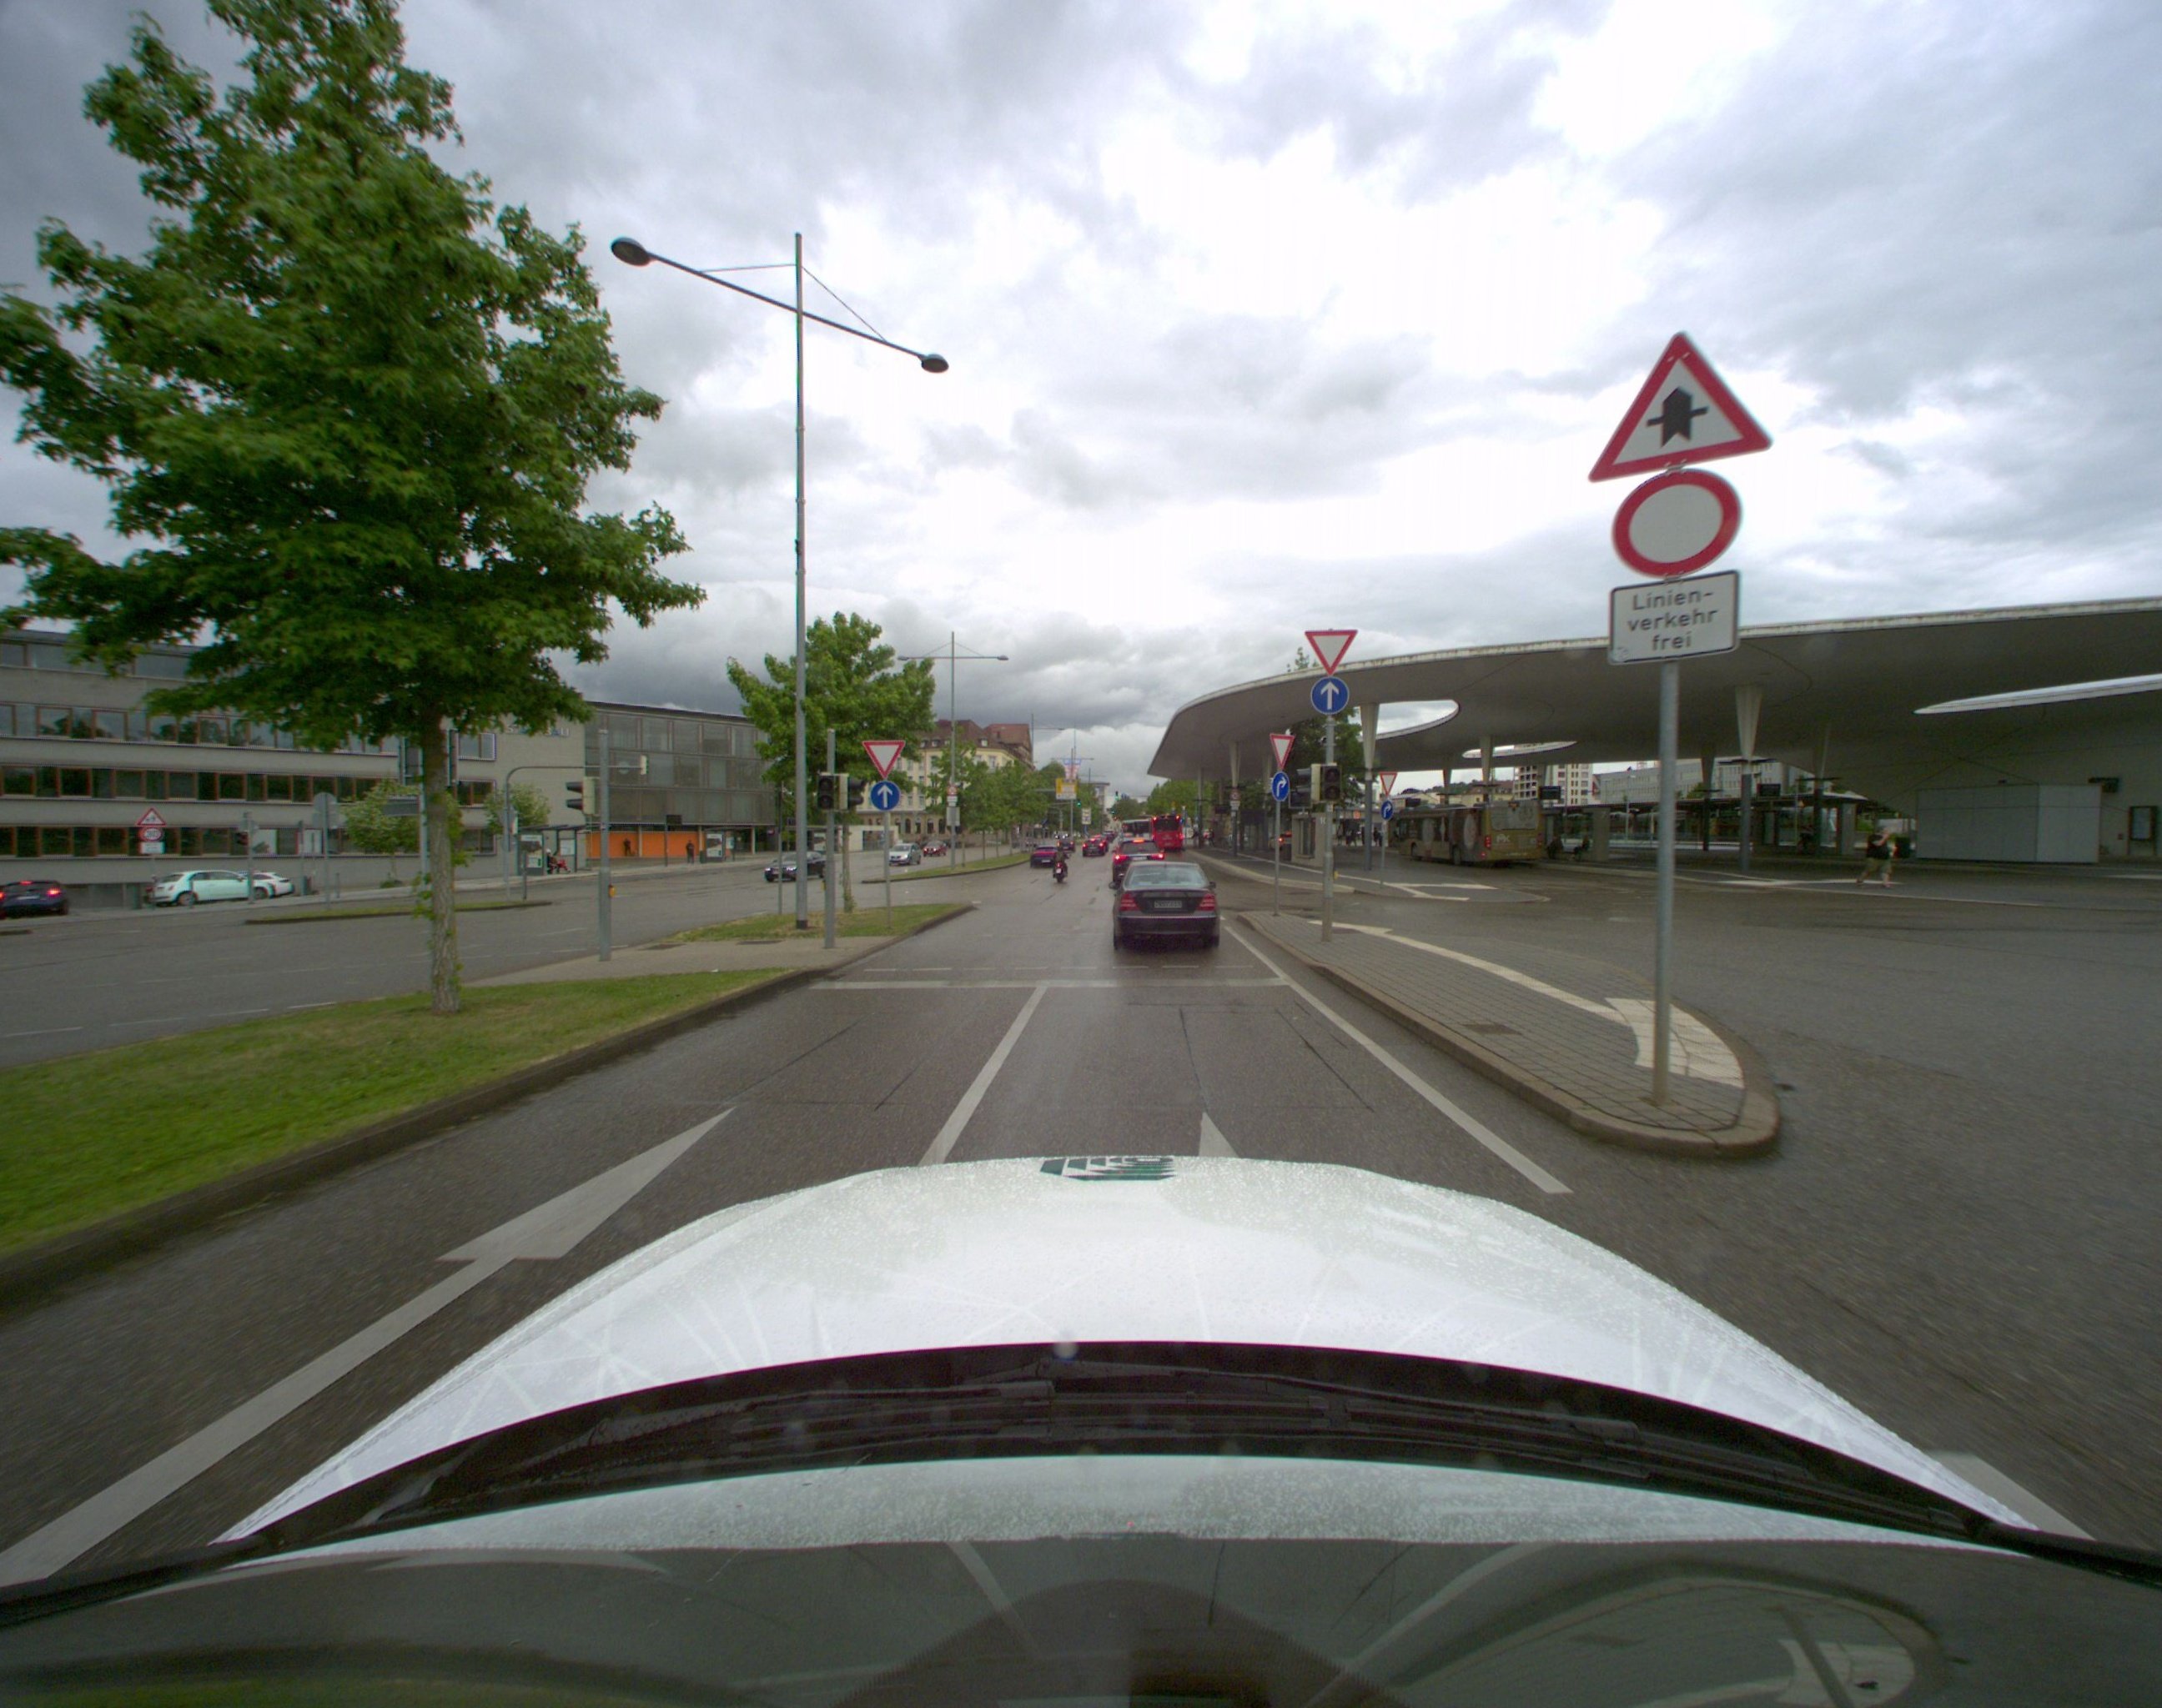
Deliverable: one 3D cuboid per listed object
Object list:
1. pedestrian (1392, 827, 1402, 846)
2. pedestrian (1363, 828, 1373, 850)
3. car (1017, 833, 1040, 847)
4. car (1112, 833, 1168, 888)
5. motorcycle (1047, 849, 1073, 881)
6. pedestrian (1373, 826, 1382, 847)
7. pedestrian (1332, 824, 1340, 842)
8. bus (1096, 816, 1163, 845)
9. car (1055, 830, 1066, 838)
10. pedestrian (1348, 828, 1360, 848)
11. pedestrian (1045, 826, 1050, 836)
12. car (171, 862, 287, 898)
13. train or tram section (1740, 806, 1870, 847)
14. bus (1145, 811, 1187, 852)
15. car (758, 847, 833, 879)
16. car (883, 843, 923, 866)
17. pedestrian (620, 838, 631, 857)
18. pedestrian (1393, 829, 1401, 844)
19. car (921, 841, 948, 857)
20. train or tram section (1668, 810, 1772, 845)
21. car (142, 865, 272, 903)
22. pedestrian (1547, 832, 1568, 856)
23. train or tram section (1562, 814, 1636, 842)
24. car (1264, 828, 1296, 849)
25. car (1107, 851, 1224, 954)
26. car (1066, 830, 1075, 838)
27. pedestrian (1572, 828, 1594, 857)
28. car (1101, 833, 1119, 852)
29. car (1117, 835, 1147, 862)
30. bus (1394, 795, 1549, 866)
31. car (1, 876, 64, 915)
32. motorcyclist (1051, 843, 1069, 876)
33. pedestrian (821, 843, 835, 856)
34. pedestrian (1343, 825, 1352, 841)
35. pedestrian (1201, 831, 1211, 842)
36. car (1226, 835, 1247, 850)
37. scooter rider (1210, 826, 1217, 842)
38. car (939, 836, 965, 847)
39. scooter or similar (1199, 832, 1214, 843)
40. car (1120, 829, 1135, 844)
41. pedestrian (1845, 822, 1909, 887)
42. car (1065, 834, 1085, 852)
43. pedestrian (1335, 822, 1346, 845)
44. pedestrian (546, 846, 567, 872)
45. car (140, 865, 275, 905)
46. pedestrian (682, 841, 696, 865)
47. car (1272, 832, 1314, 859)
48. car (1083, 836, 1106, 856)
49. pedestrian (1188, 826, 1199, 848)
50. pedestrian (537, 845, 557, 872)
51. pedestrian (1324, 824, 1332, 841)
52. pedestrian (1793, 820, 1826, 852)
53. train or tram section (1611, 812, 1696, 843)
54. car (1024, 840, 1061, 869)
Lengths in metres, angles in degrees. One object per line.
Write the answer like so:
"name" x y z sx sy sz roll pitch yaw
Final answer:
"pedestrian" 25.134 -1.385 64.706 0.558 1.444 0.613 -1 1 -1
"pedestrian" 22.645 -1.171 64.239 0.559 1.691 0.613 0 2 -4
"car" -6.951 -1.837 108.297 1.873 1.684 3.971 3 -1 -22
"car" 2.265 0.162 31.987 1.949 1.875 4.878 -3 2 3
"motorcycle" -0.884 0.444 34.225 0.789 1.262 1.859 -2 2 6
"pedestrian" 26.214 -1.536 72.059 0.583 1.874 0.721 1 2 32
"pedestrian" 24.318 -2.003 77.652 0.574 1.716 0.565 1 -3 38
"bus" 6.932 -3.282 118.433 2.860 3.987 11.733 -2 1 -36
"car" -4.125 -4.113 165.620 1.772 1.567 3.433 -3 2 3
"pedestrian" 21.821 -1.308 65.147 0.597 1.581 0.710 -1 -1 -6
"pedestrian" -6.933 -4.714 167.437 0.727 1.965 0.820 -2 1 -24
"car" -41.502 1.229 39.731 1.743 1.495 3.812 0 2 41
"train or tram section" 73.024 -2.743 82.664 3.119 3.677 11.624 3 2 2
"bus" 7.477 -2.037 72.848 3.272 3.291 10.890 -1 2 4
"car" -14.669 0.409 42.169 1.839 1.504 4.925 -1 1 4
"car" -13.425 0.006 61.623 1.839 1.652 4.423 -1 1 3
"pedestrian" -41.237 -0.617 73.719 0.469 1.683 0.647 -1 1 34
"pedestrian" 25.405 -1.403 65.487 0.454 1.250 0.566 1 2 32
"car" -15.134 -0.546 84.356 1.814 1.552 4.038 -1 1 4
"train or tram section" 73.578 -3.057 94.252 3.119 3.680 11.625 3 2 2
"car" -39.349 1.309 36.757 1.614 1.495 3.599 -1 1 18
"pedestrian" 24.214 -0.521 41.393 0.786 1.226 0.637 -1 1 20
"train or tram section" 74.654 -3.773 117.869 3.119 3.659 12.333 3 2 2
"car" 16.340 -1.283 67.036 1.705 1.662 4.242 0 2 2
"car" 1.322 0.708 14.189 1.691 1.462 4.305 -1 0 2
"car" -2.218 -4.187 171.756 1.569 1.567 3.433 -3 2 3
"pedestrian" 24.155 -0.548 39.228 0.786 1.377 0.637 -1 1 20
"car" 2.716 -1.094 75.952 1.569 1.567 3.875 -3 2 3
"car" 3.267 -0.394 52.489 1.734 1.567 3.875 -3 2 3
"bus" 19.599 -1.201 42.074 2.710 3.043 12.100 -1 1 3
"car" -42.059 1.634 32.654 3.536 1.350 1.492 0 1 37
"motorcyclist" -0.890 0.232 34.309 0.638 1.347 0.690 -1 1 6
"pedestrian" -26.206 -0.466 84.364 0.967 1.267 0.854 4 3 23
"pedestrian" 25.483 -2.006 77.839 0.574 1.578 0.565 1 -3 38
"pedestrian" 11.978 -1.671 78.003 0.906 0.985 0.636 0 -3 16
"car" 17.891 -1.346 93.699 1.705 1.662 4.242 0 2 2
"scooter rider" 12.670 -1.907 77.914 0.587 1.489 0.768 -1 1 16
"car" -19.279 -1.848 121.743 3.720 1.561 1.744 0 0 32
"scooter or similar" 12.041 -1.607 78.083 1.233 1.013 0.767 0 1 16
"car" 4.990 -1.923 87.781 1.569 1.567 3.875 -3 2 3
"pedestrian" 21.647 0.007 22.162 0.720 1.683 1.013 -3 1 -23
"car" -0.557 -1.057 78.357 1.669 1.623 3.875 -3 2 3
"pedestrian" 23.623 -1.843 74.169 0.716 2.014 0.674 2 -2 29
"pedestrian" -29.282 0.270 45.493 0.676 1.392 0.721 -1 1 1
"car" -37.742 1.311 35.312 1.614 1.495 3.599 -1 1 18
"pedestrian" -28.054 -0.093 58.290 0.471 1.683 0.765 -1 1 9
"car" 12.078 -0.537 46.609 1.641 1.453 3.239 0 2 1
"car" 1.135 -0.694 67.221 1.569 1.504 3.875 -3 2 4
"pedestrian" 10.254 -1.558 74.239 0.772 2.013 0.785 2 3 15
"pedestrian" -29.340 0.261 44.758 0.676 1.468 0.626 -1 1 0
"pedestrian" 23.529 -2.026 77.513 0.574 1.578 0.565 2 -2 32
"pedestrian" 36.680 -0.890 41.023 0.793 1.586 0.907 1 0 -3
"train or tram section" 74.107 -3.411 105.874 3.119 3.659 11.625 3 2 2
"car" -2.312 -0.019 50.165 1.808 1.570 4.408 -3 2 3
